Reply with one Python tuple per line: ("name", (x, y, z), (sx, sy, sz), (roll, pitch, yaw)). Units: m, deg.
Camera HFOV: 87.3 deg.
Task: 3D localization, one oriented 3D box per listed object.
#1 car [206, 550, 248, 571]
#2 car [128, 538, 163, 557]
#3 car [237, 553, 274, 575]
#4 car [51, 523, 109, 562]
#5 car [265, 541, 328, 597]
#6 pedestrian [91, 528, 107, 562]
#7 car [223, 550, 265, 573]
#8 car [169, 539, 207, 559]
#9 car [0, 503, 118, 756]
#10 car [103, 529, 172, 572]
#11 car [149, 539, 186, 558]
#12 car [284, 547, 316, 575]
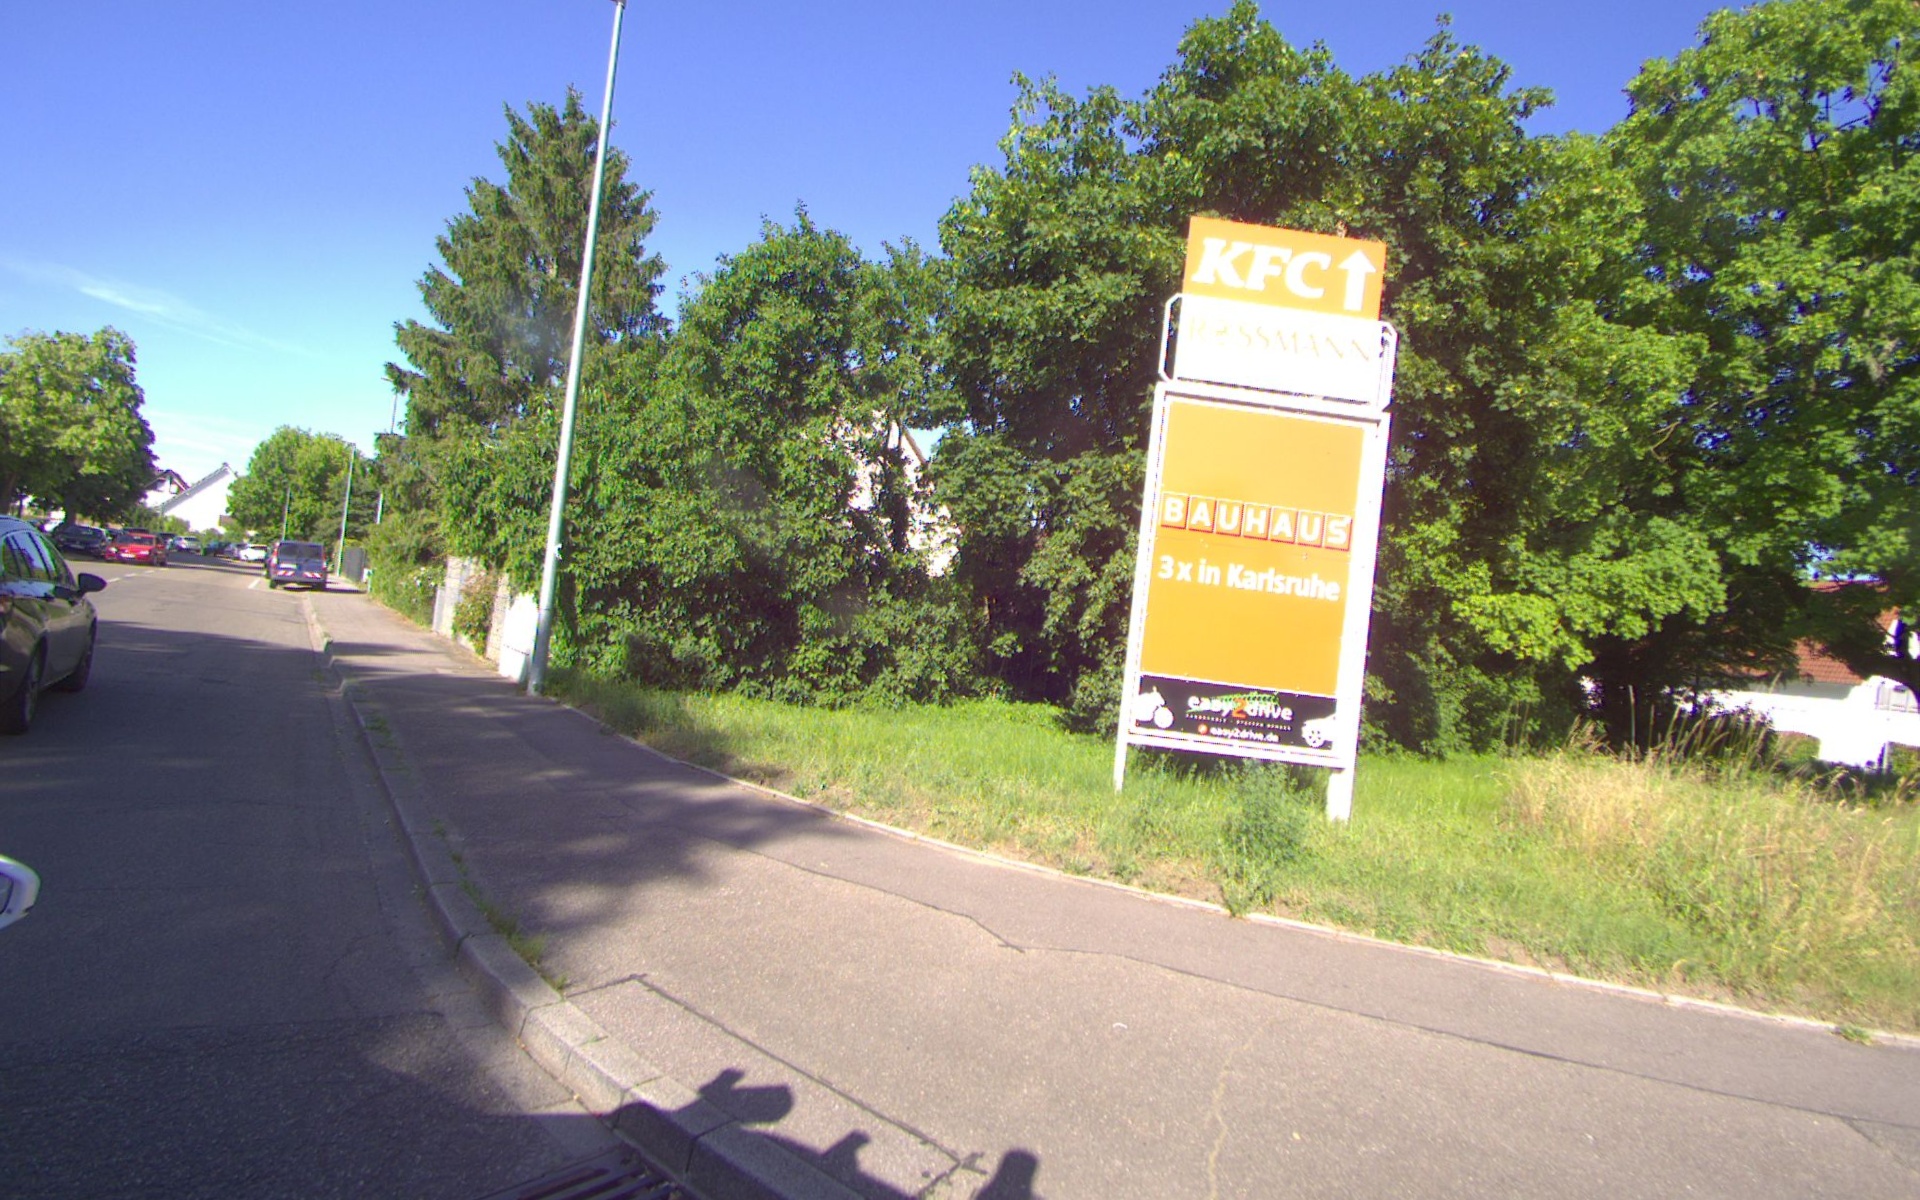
("car", (-65.790, -3.564, 90.234), (4.233, 1.492, 2.004), (4, -2, 40))
("car", (-82.465, -5.323, 101.860), (4.198, 1.552, 1.819), (4, -2, 39))
("car", (-58.247, -2.997, 83.131), (1.756, 1.497, 4.241), (7, -2, -44))
("car", (-42.800, -2.760, 48.991), (1.693, 1.496, 4.013), (10, -5, -37))
("car", (-26.694, -1.257, 40.494), (1.826, 1.929, 4.657), (8, -2, -34))
("pedestrian", (-47.032, -2.980, 54.962), (0.502, 1.781, 0.688), (6, -2, -38))
("car", (-61.596, -3.356, 86.548), (4.234, 1.619, 1.909), (4, -2, 41))
("car", (-73.223, -4.863, 95.388), (4.198, 1.552, 1.819), (4, -2, 39))
("car", (-7.601, 0.013, 7.303), (1.752, 1.507, 4.252), (9, -3, -35))
("car", (-37.611, -2.281, 46.115), (2.002, 1.586, 4.351), (9, -2, -36))
("car", (-77.677, -5.081, 98.573), (4.198, 1.552, 1.819), (4, -2, 39))
("car", (-47.299, -2.771, 72.076), (1.767, 1.744, 4.257), (7, -2, -34))
